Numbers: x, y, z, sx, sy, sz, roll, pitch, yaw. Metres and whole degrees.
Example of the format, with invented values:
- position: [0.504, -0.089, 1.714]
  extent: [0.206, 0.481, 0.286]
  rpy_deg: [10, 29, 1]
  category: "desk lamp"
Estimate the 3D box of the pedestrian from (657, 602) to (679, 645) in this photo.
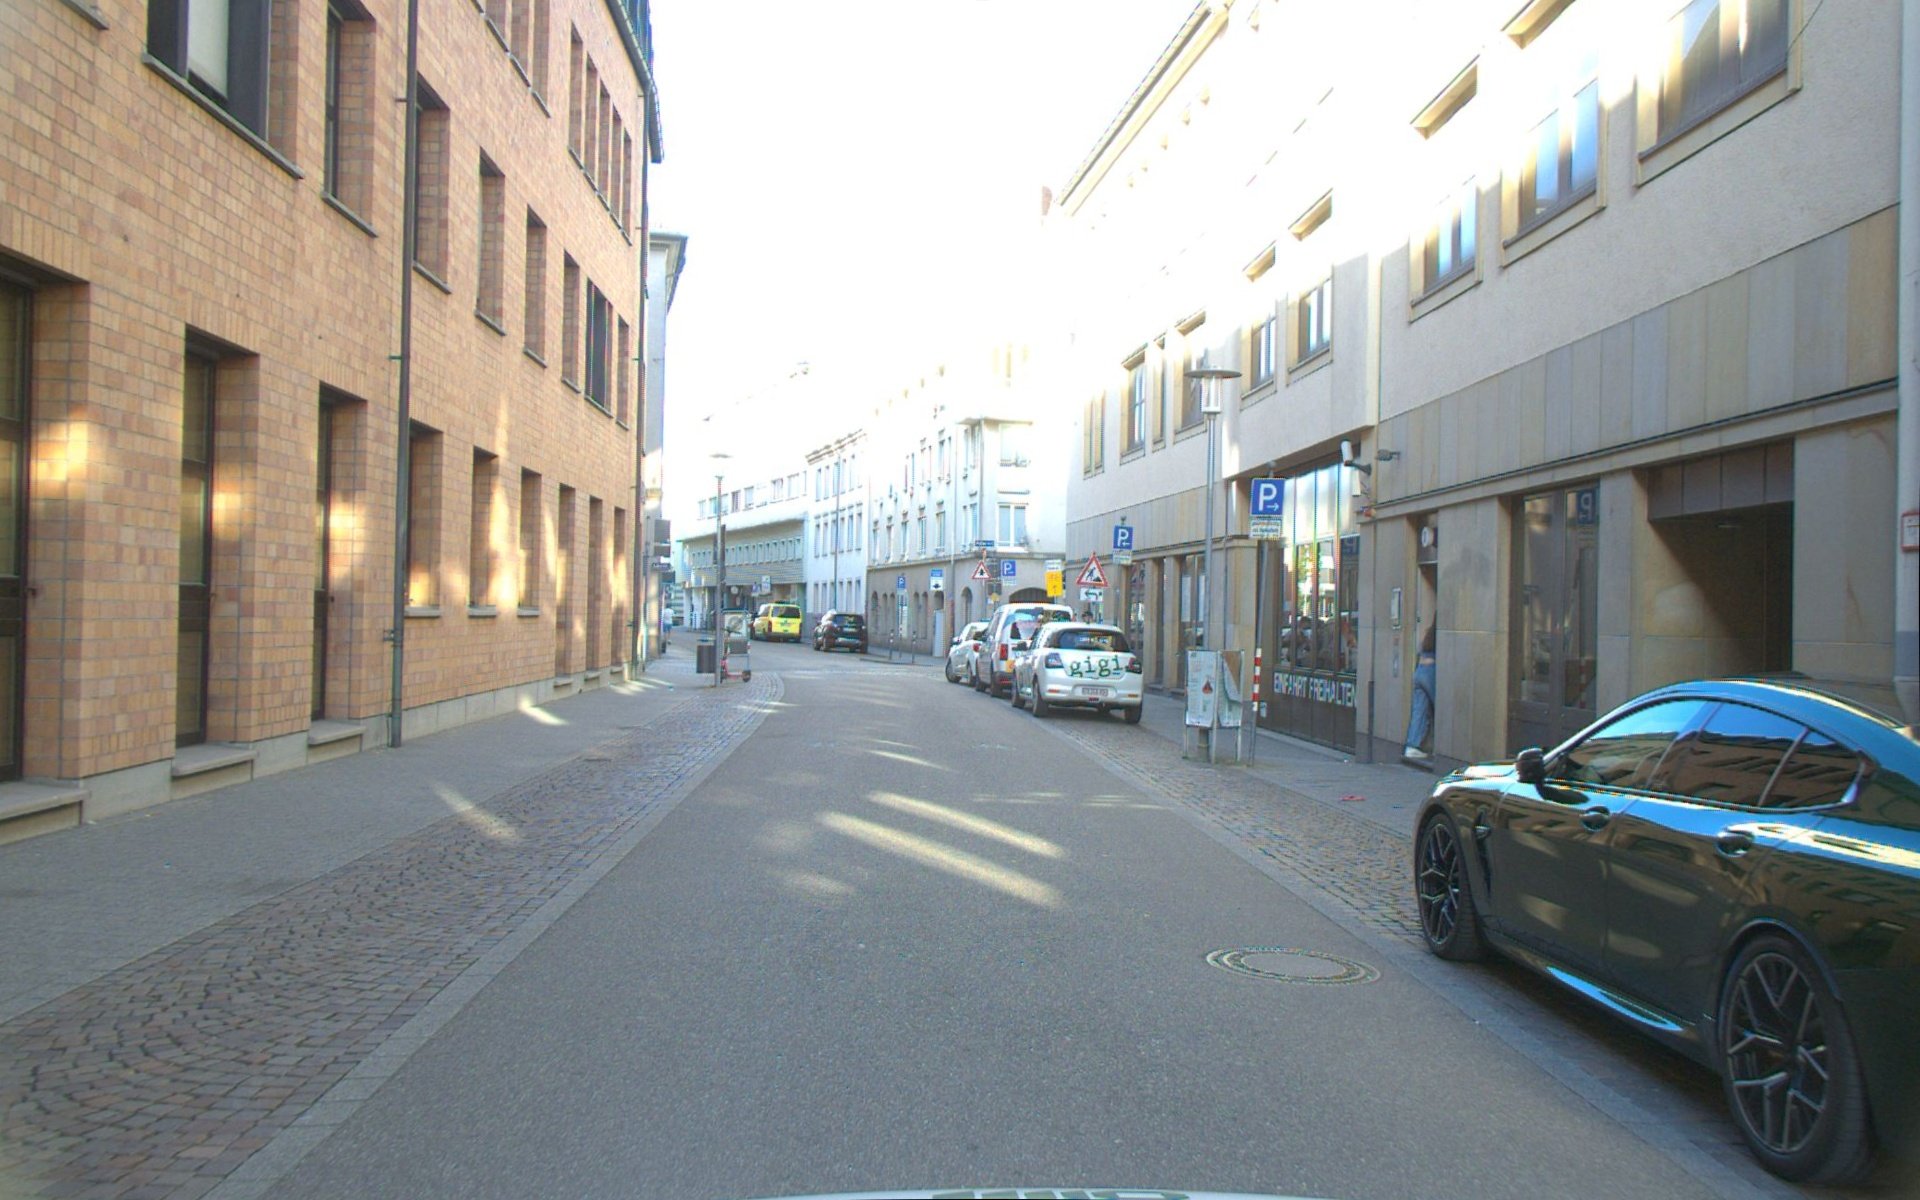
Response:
- position: [-12.290, 0.982, 69.564]
  extent: [0.754, 1.755, 0.683]
  rpy_deg: [2, -1, -19]
  category: "pedestrian"

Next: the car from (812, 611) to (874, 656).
- position: [-4.918, 1.393, 69.037]
  extent: [1.934, 1.722, 4.087]
  rpy_deg: [3, -1, -13]
  category: "car"

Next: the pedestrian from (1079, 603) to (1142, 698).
- position: [2.993, 0.997, 33.008]
  extent: [1.022, 1.833, 1.197]
  rpy_deg: [2, -2, -6]
  category: "pedestrian"

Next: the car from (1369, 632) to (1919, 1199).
- position: [3.209, 0.930, 6.251]
  extent: [1.856, 1.478, 5.223]
  rpy_deg: [3, -1, -1]
  category: "car"

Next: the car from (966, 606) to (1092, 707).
- position: [1.300, 1.093, 33.580]
  extent: [1.795, 1.822, 5.207]
  rpy_deg: [2, -1, -6]
  category: "car"

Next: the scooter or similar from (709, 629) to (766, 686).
- position: [-4.995, 1.278, 37.200]
  extent: [0.683, 1.239, 1.357]
  rpy_deg: [0, -1, 22]
  category: "scooter or similar"

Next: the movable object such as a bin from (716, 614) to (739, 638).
- position: [-15.307, 1.701, 108.718]
  extent: [1.115, 1.585, 1.728]
  rpy_deg: [2, -1, -21]
  category: "movable object such as a bin"

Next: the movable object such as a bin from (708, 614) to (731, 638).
- position: [-16.043, 1.727, 110.349]
  extent: [1.115, 1.505, 1.728]
  rpy_deg: [2, -1, -21]
  category: "movable object such as a bin"

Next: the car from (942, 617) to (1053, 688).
- position: [0.840, 1.215, 39.507]
  extent: [1.854, 1.545, 4.052]
  rpy_deg: [2, -1, -10]
  category: "car"

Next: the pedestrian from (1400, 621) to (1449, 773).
- position: [5.221, 1.076, 18.615]
  extent: [0.470, 1.683, 0.539]
  rpy_deg: [0, -1, 10]
  category: "pedestrian"

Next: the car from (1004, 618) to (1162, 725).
- position: [1.939, 1.122, 27.312]
  extent: [1.805, 1.504, 4.162]
  rpy_deg: [4, -1, -6]
  category: "car"

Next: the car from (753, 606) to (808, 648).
- position: [-9.268, 1.350, 85.035]
  extent: [2.021, 2.049, 4.154]
  rpy_deg: [2, -1, -18]
  category: "car"
